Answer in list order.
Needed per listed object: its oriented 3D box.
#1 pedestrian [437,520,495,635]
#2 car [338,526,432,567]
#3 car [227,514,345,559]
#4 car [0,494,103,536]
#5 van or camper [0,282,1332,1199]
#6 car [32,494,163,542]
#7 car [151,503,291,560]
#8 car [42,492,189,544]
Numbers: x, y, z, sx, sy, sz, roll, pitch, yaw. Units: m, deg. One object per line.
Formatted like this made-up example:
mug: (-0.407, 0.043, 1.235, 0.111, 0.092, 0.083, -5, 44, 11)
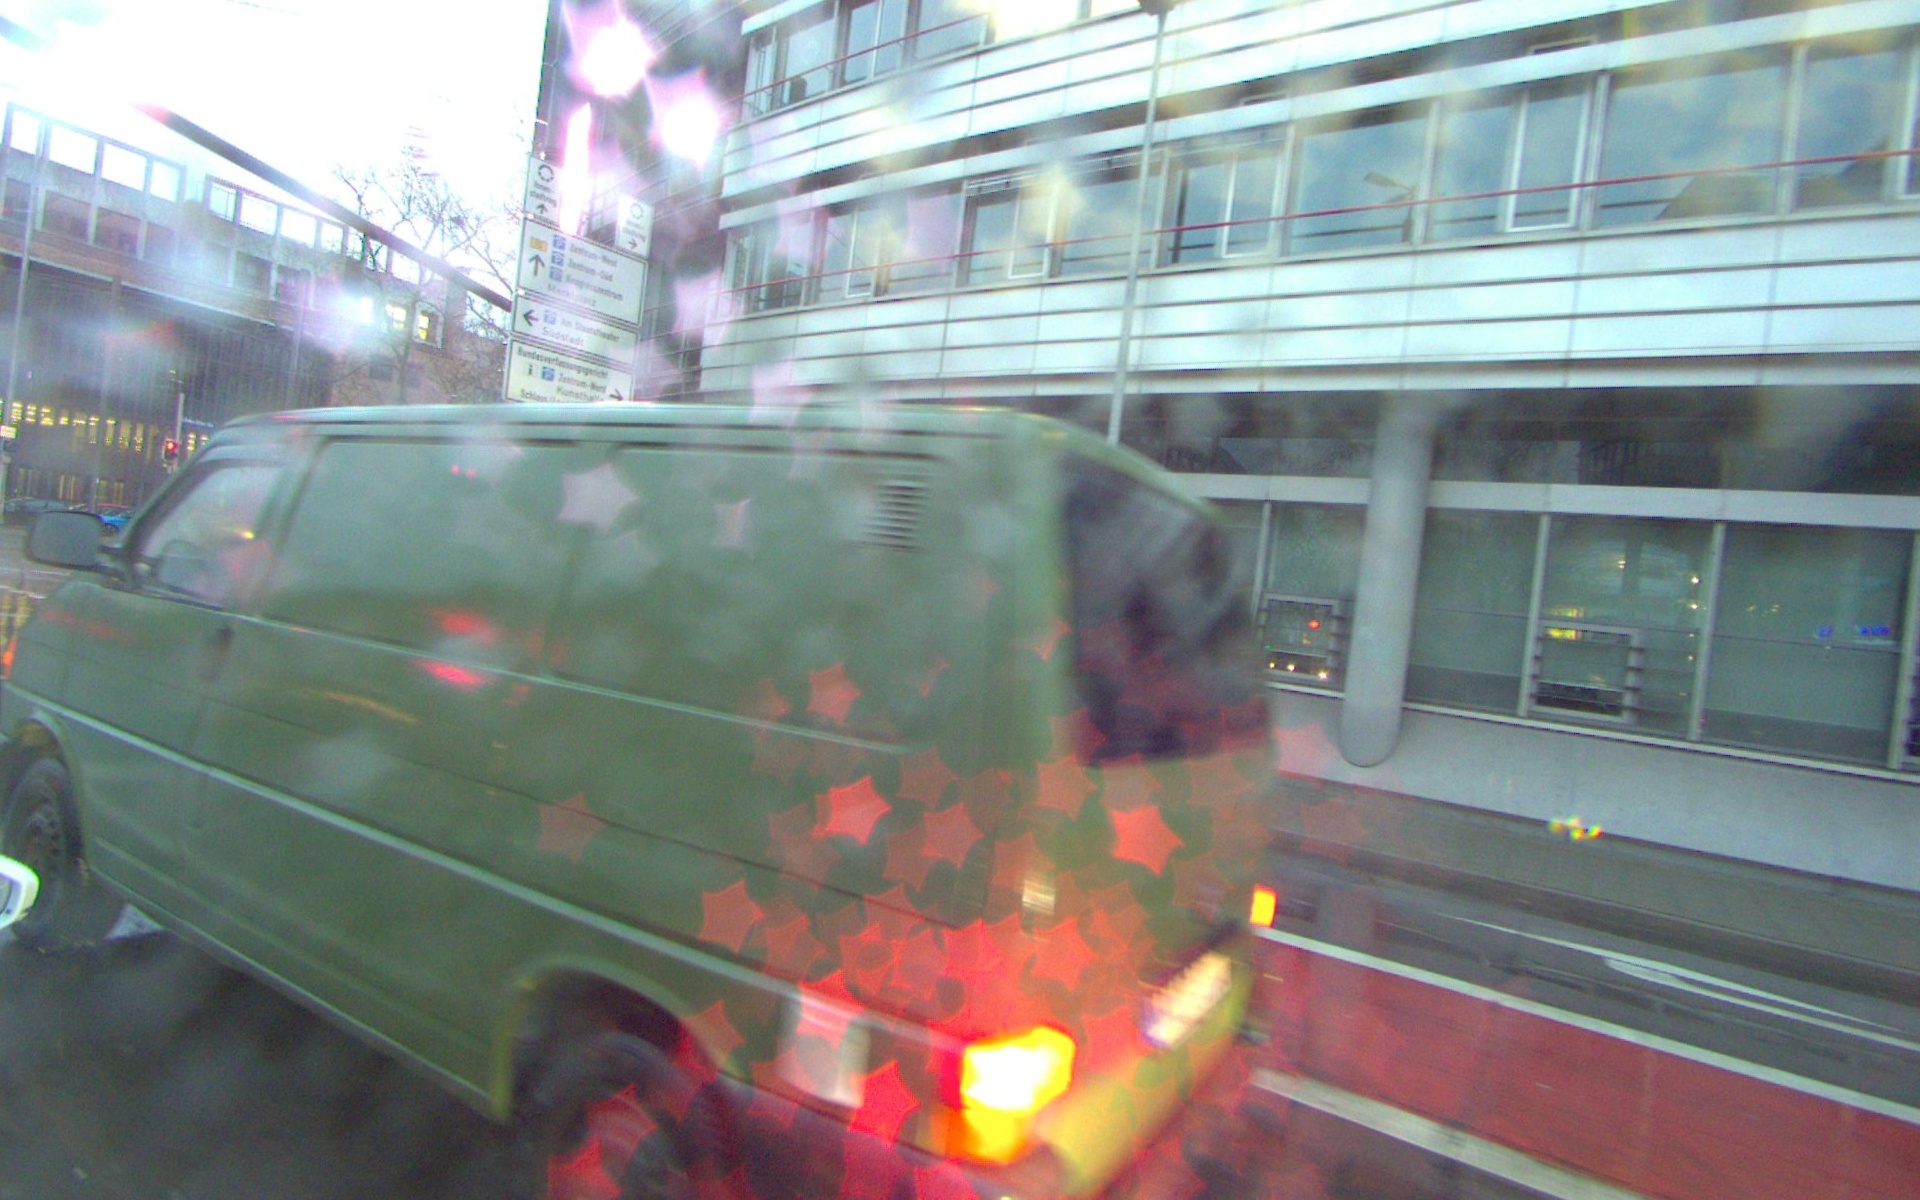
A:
pedestrian: (-9.878, -0.437, 20.106, 0.609, 2.210, 0.576, 6, 0, 26)
car: (-31.245, -2.903, 54.769, 1.814, 1.523, 3.997, 11, 1, 26)
car: (-30.703, -2.853, 45.944, 1.814, 1.304, 3.997, 11, 1, 26)
car: (-40.274, -3.773, 43.836, 1.965, 1.326, 3.994, 7, 0, 28)
van or camper: (-1.331, 0.380, 3.289, 4.345, 1.929, 1.760, 7, -1, 32)
car: (-36.545, -3.451, 42.733, 1.814, 1.278, 3.729, 11, 1, 26)
car: (-29.364, -2.695, 40.082, 1.814, 1.523, 3.997, 11, 1, 26)
car: (-33.500, -3.226, 40.019, 1.814, 1.278, 3.997, 11, 1, 26)
